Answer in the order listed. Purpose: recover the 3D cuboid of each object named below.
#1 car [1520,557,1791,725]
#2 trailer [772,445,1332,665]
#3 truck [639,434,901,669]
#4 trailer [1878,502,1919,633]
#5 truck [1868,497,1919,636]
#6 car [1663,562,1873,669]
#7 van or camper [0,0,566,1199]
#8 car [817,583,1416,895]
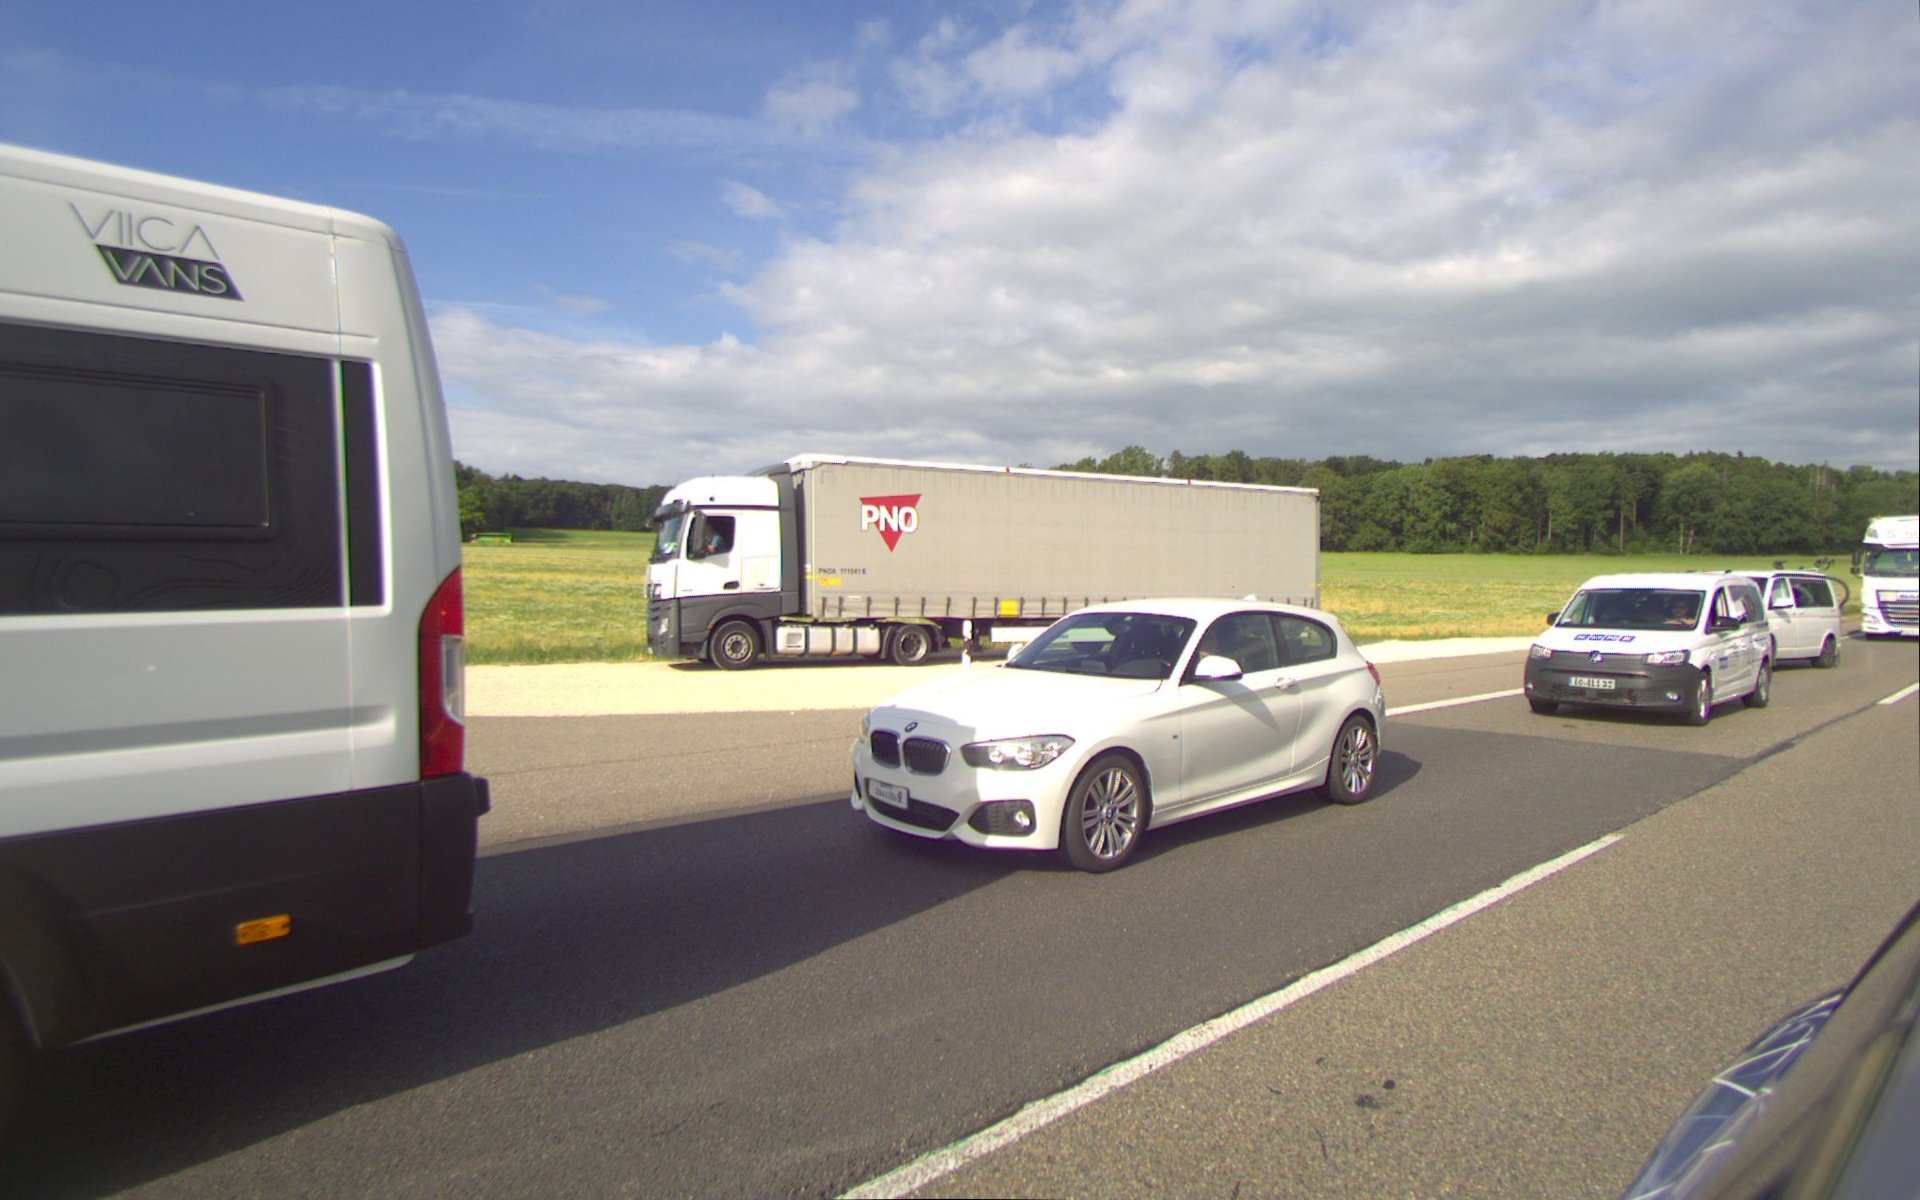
[{"bbox_3d":[9.003,0.425,12.931,4.620,1.779,1.727,0,0,-41],"label":"car"},{"bbox_3d":[2.619,-0.864,23.581,13.543,4.213,2.748,0,0,-26],"label":"trailer"},{"bbox_3d":[-3.864,-0.876,20.438,4.662,4.226,2.727,0,0,-26],"label":"truck"},{"bbox_3d":[36.114,-1.171,36.641,13.777,4.212,2.739,-1,1,-41],"label":"trailer"},{"bbox_3d":[31.458,-1.065,32.519,5.667,4.226,2.733,-1,1,-41],"label":"truck"},{"bbox_3d":[16.430,0.264,20.497,5.165,1.949,1.802,0,0,-33],"label":"car"},{"bbox_3d":[-4.209,0.021,1.733,6.222,2.714,2.219,0,1,-41],"label":"van or camper"},{"bbox_3d":[1.263,0.629,6.739,4.159,1.450,1.706,0,0,-42],"label":"car"}]
